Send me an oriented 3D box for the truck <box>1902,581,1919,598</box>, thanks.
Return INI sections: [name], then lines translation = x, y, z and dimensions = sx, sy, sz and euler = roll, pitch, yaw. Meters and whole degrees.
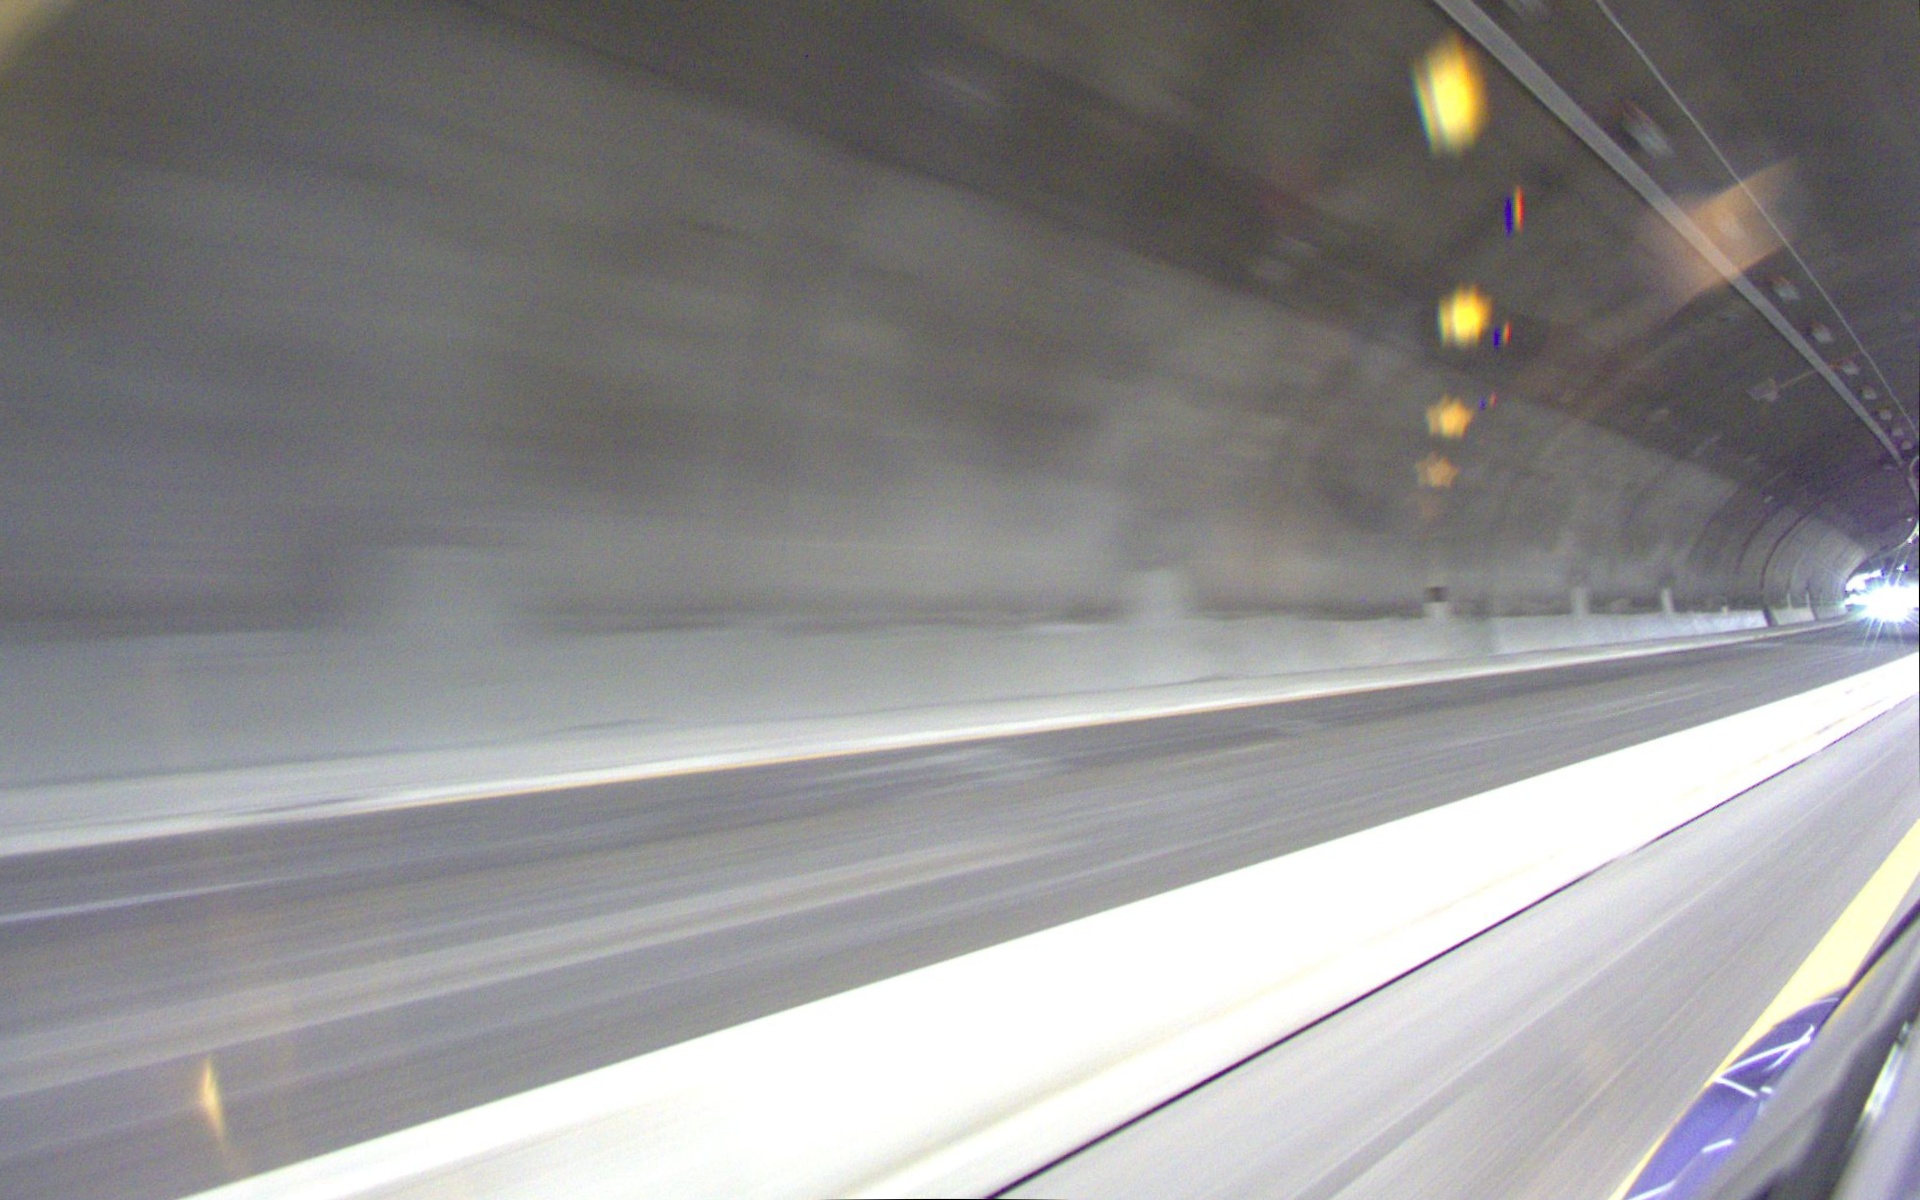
[truck]
translation = 164.792, -1.800, 175.039
dimensions = 2.601, 2.773, 6.302
euler = 1, 1, 41
